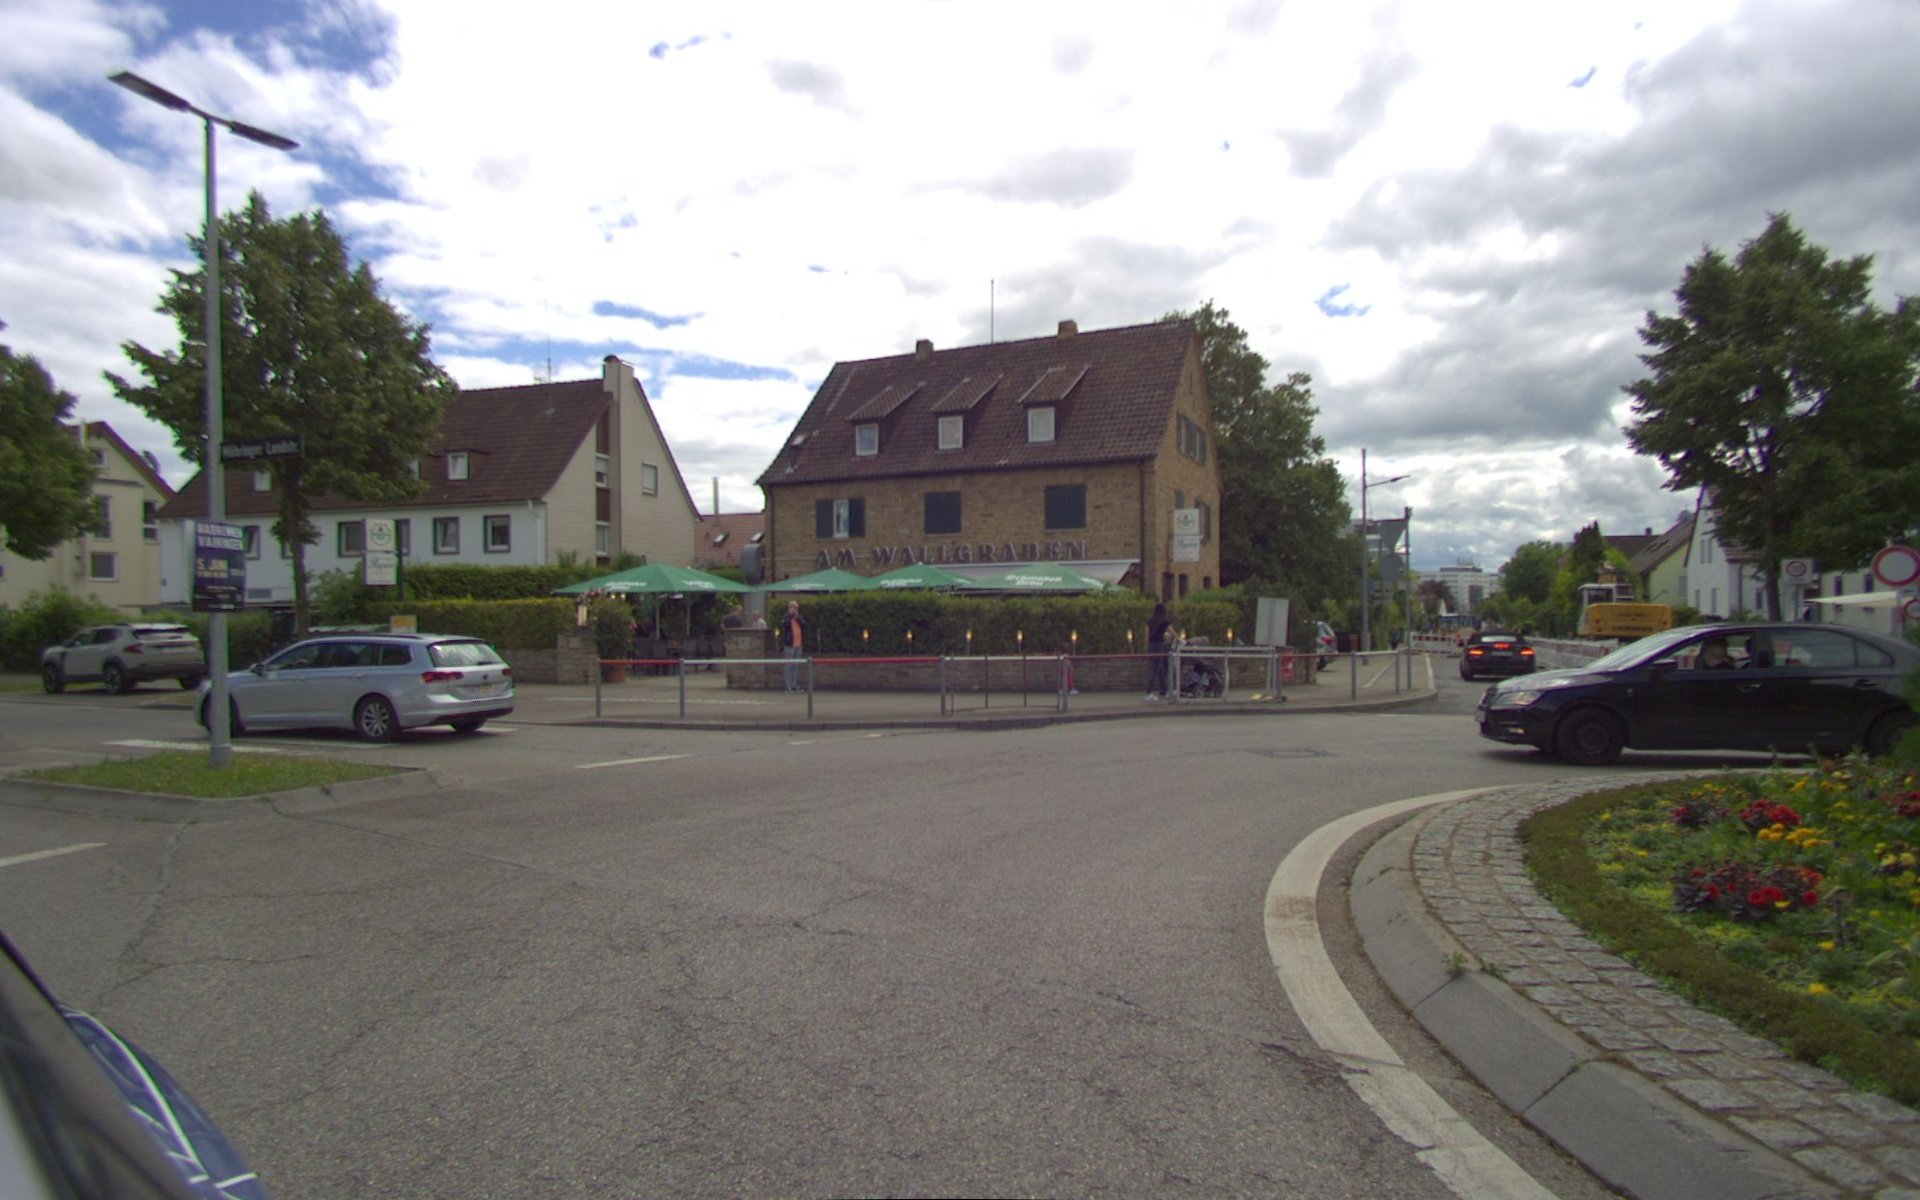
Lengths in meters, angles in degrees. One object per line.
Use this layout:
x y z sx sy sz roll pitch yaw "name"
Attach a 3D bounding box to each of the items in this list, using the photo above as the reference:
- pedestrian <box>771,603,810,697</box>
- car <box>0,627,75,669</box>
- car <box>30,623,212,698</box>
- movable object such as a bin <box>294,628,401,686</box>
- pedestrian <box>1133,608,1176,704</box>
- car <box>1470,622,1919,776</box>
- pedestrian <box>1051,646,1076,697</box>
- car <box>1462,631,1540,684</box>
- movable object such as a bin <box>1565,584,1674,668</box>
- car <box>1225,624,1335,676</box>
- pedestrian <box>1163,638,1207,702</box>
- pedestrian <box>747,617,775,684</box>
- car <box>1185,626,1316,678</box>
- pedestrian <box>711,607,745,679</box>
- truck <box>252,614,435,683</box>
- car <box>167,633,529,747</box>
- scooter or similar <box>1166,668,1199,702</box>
-3.389 0.998 20.278 0.561 1.840 0.635 -1 -1 12 "pedestrian"
-36.574 1.830 38.534 1.738 1.551 4.022 -1 -1 19 "car"
-20.242 1.430 24.418 4.021 1.648 1.739 -2 -1 23 "car"
-15.914 1.463 26.275 2.704 1.427 0.977 -2 -1 23 "movable object such as a bin"
3.399 0.971 17.720 0.603 1.646 0.452 -2 -1 2 "pedestrian"
7.550 0.943 10.357 3.950 1.386 1.530 -1 -3 20 "car"
1.922 1.325 18.836 0.423 0.919 0.340 -2 1 6 "pedestrian"
15.250 1.577 28.658 1.690 1.343 3.584 -1 -1 24 "car"
24.367 0.946 37.591 2.661 2.938 3.672 -1 -1 23 "movable object such as a bin"
10.256 1.561 32.454 3.213 1.512 1.385 1 -1 26 "car"
3.992 1.238 17.993 0.590 1.108 0.446 -3 -2 43 "pedestrian"
-5.238 1.315 26.633 0.566 1.740 0.483 -2 -2 41 "pedestrian"
8.840 1.545 30.819 3.654 1.430 1.455 1 -1 27 "car"
-5.983 1.104 26.141 0.566 1.841 0.629 -2 -2 41 "pedestrian"
-18.023 1.367 29.837 1.851 1.864 4.472 -1 -1 19 "truck"
-8.769 1.249 14.585 4.649 1.465 1.798 -1 -2 16 "car"
3.964 1.505 18.015 0.431 0.566 0.356 -3 -2 43 "scooter or similar"
